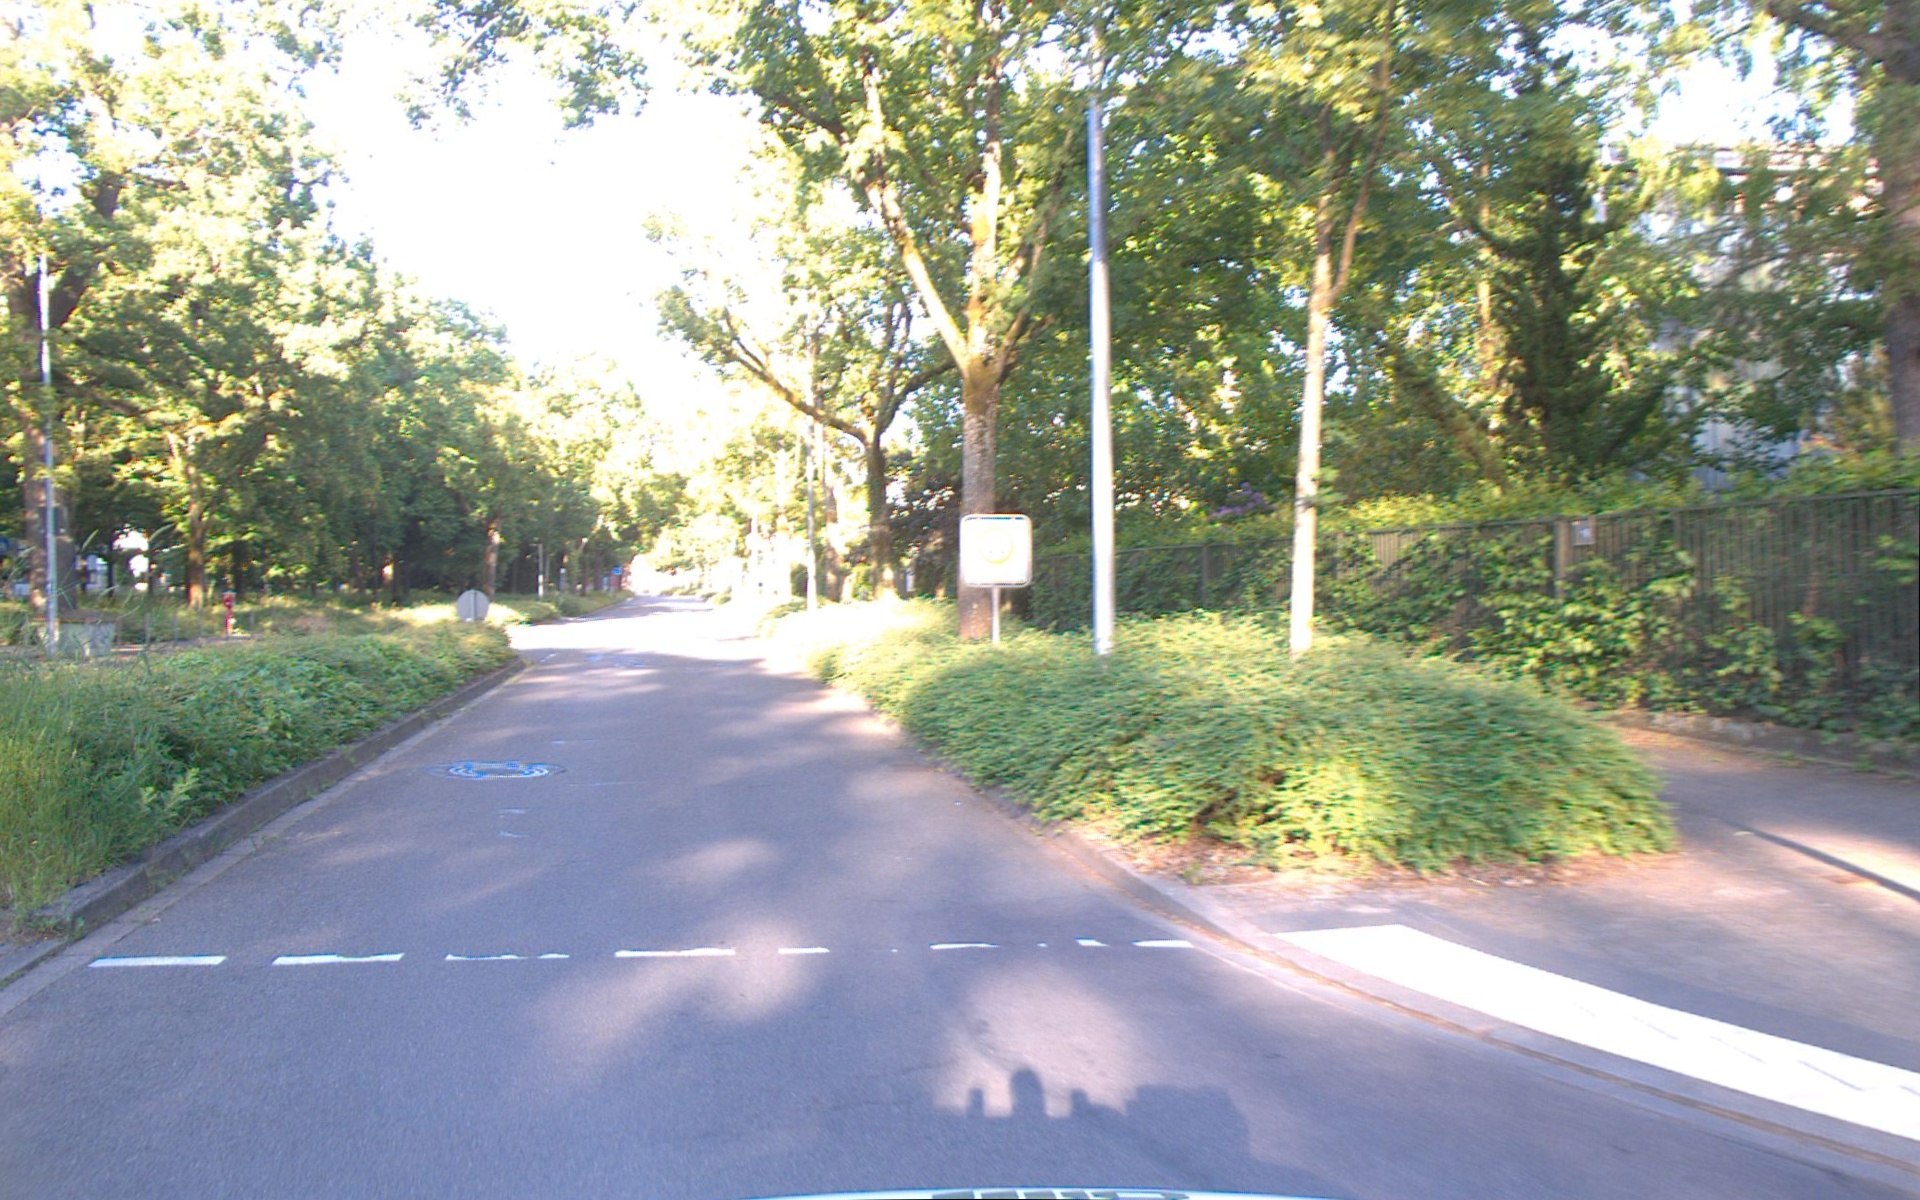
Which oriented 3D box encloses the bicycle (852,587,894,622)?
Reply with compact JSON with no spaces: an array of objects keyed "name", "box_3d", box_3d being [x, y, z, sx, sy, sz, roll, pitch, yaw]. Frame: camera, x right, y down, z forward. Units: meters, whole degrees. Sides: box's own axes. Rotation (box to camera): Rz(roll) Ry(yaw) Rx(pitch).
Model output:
[{"name":"bicycle","box_3d":[-3.332,0.161,63.692,0.865,1.221,2.328,-3,1,15]}]
